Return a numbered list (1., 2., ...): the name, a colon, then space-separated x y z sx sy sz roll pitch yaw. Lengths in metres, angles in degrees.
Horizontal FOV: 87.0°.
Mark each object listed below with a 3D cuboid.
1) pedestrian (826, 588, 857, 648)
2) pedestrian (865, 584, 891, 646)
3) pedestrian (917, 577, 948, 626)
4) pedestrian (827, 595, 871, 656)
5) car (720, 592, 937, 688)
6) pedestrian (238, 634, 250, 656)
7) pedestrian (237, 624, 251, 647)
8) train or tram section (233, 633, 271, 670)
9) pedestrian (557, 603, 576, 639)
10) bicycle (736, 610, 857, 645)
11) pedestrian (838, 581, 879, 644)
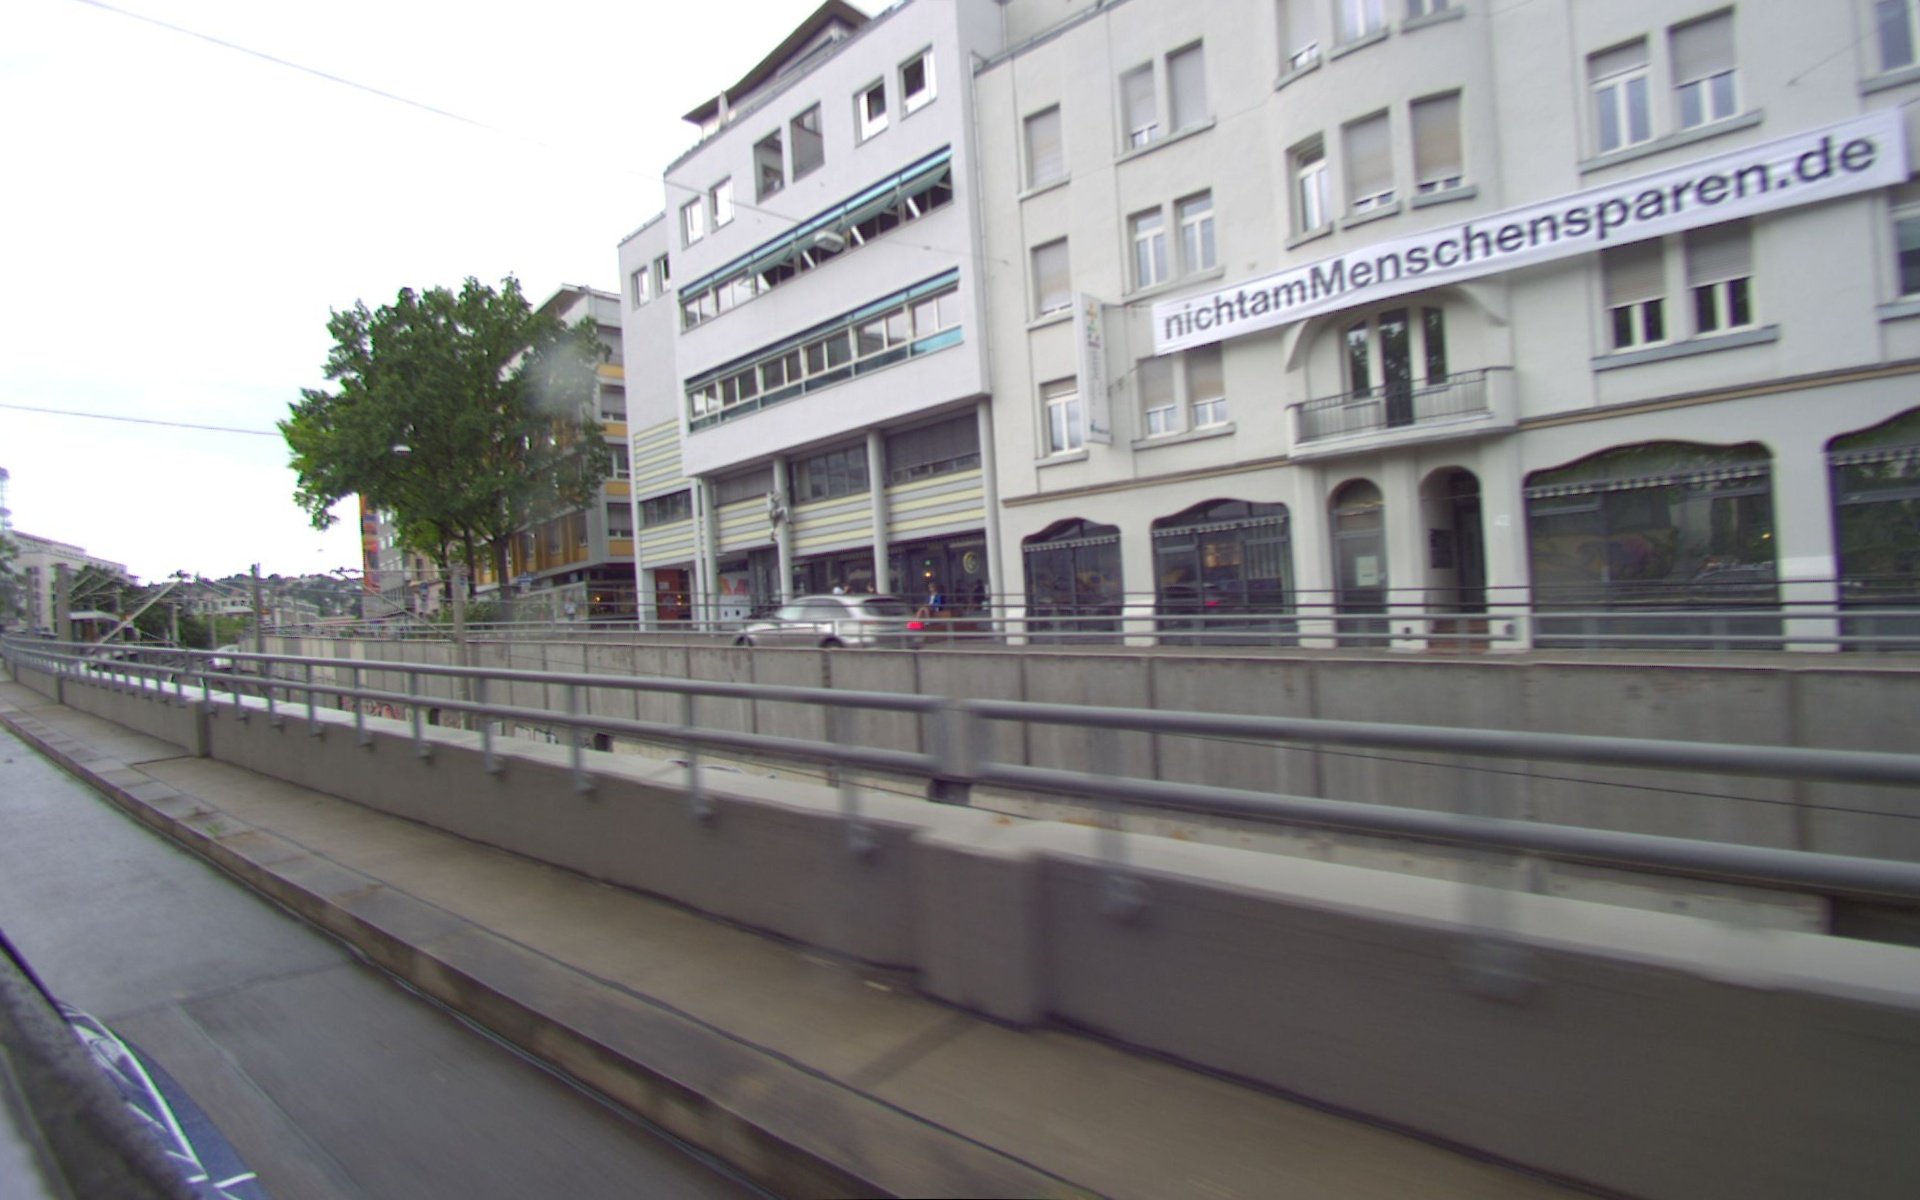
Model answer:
1. pedestrian: -3.370 0.499 28.838 0.783 1.655 0.674 -3 0 -3
2. pedestrian: -2.386 0.429 29.467 0.601 1.735 0.673 -3 0 0
3. pedestrian: -0.843 0.041 30.791 0.674 1.429 0.600 -3 0 45
4. pedestrian: -3.064 0.703 27.876 0.937 1.628 0.668 -3 0 25
5. car: -2.774 0.808 20.684 4.576 1.726 1.817 -3 0 42
6. pedestrian: -55.844 3.515 78.888 0.624 1.673 0.685 -4 -2 -30
7. pedestrian: -53.045 2.653 75.012 0.668 1.661 0.898 3 -4 -29
8. train or tram section: -84.319 6.171 120.618 2.741 3.719 9.742 -5 -2 -31
9. pedestrian: -21.097 1.127 54.271 0.657 1.863 0.831 0 -2 -41
10. bicycle: -5.584 0.935 34.223 4.523 1.051 1.674 -2 -1 45
11. pedestrian: -3.016 0.373 30.171 0.937 1.798 0.668 -3 0 25
